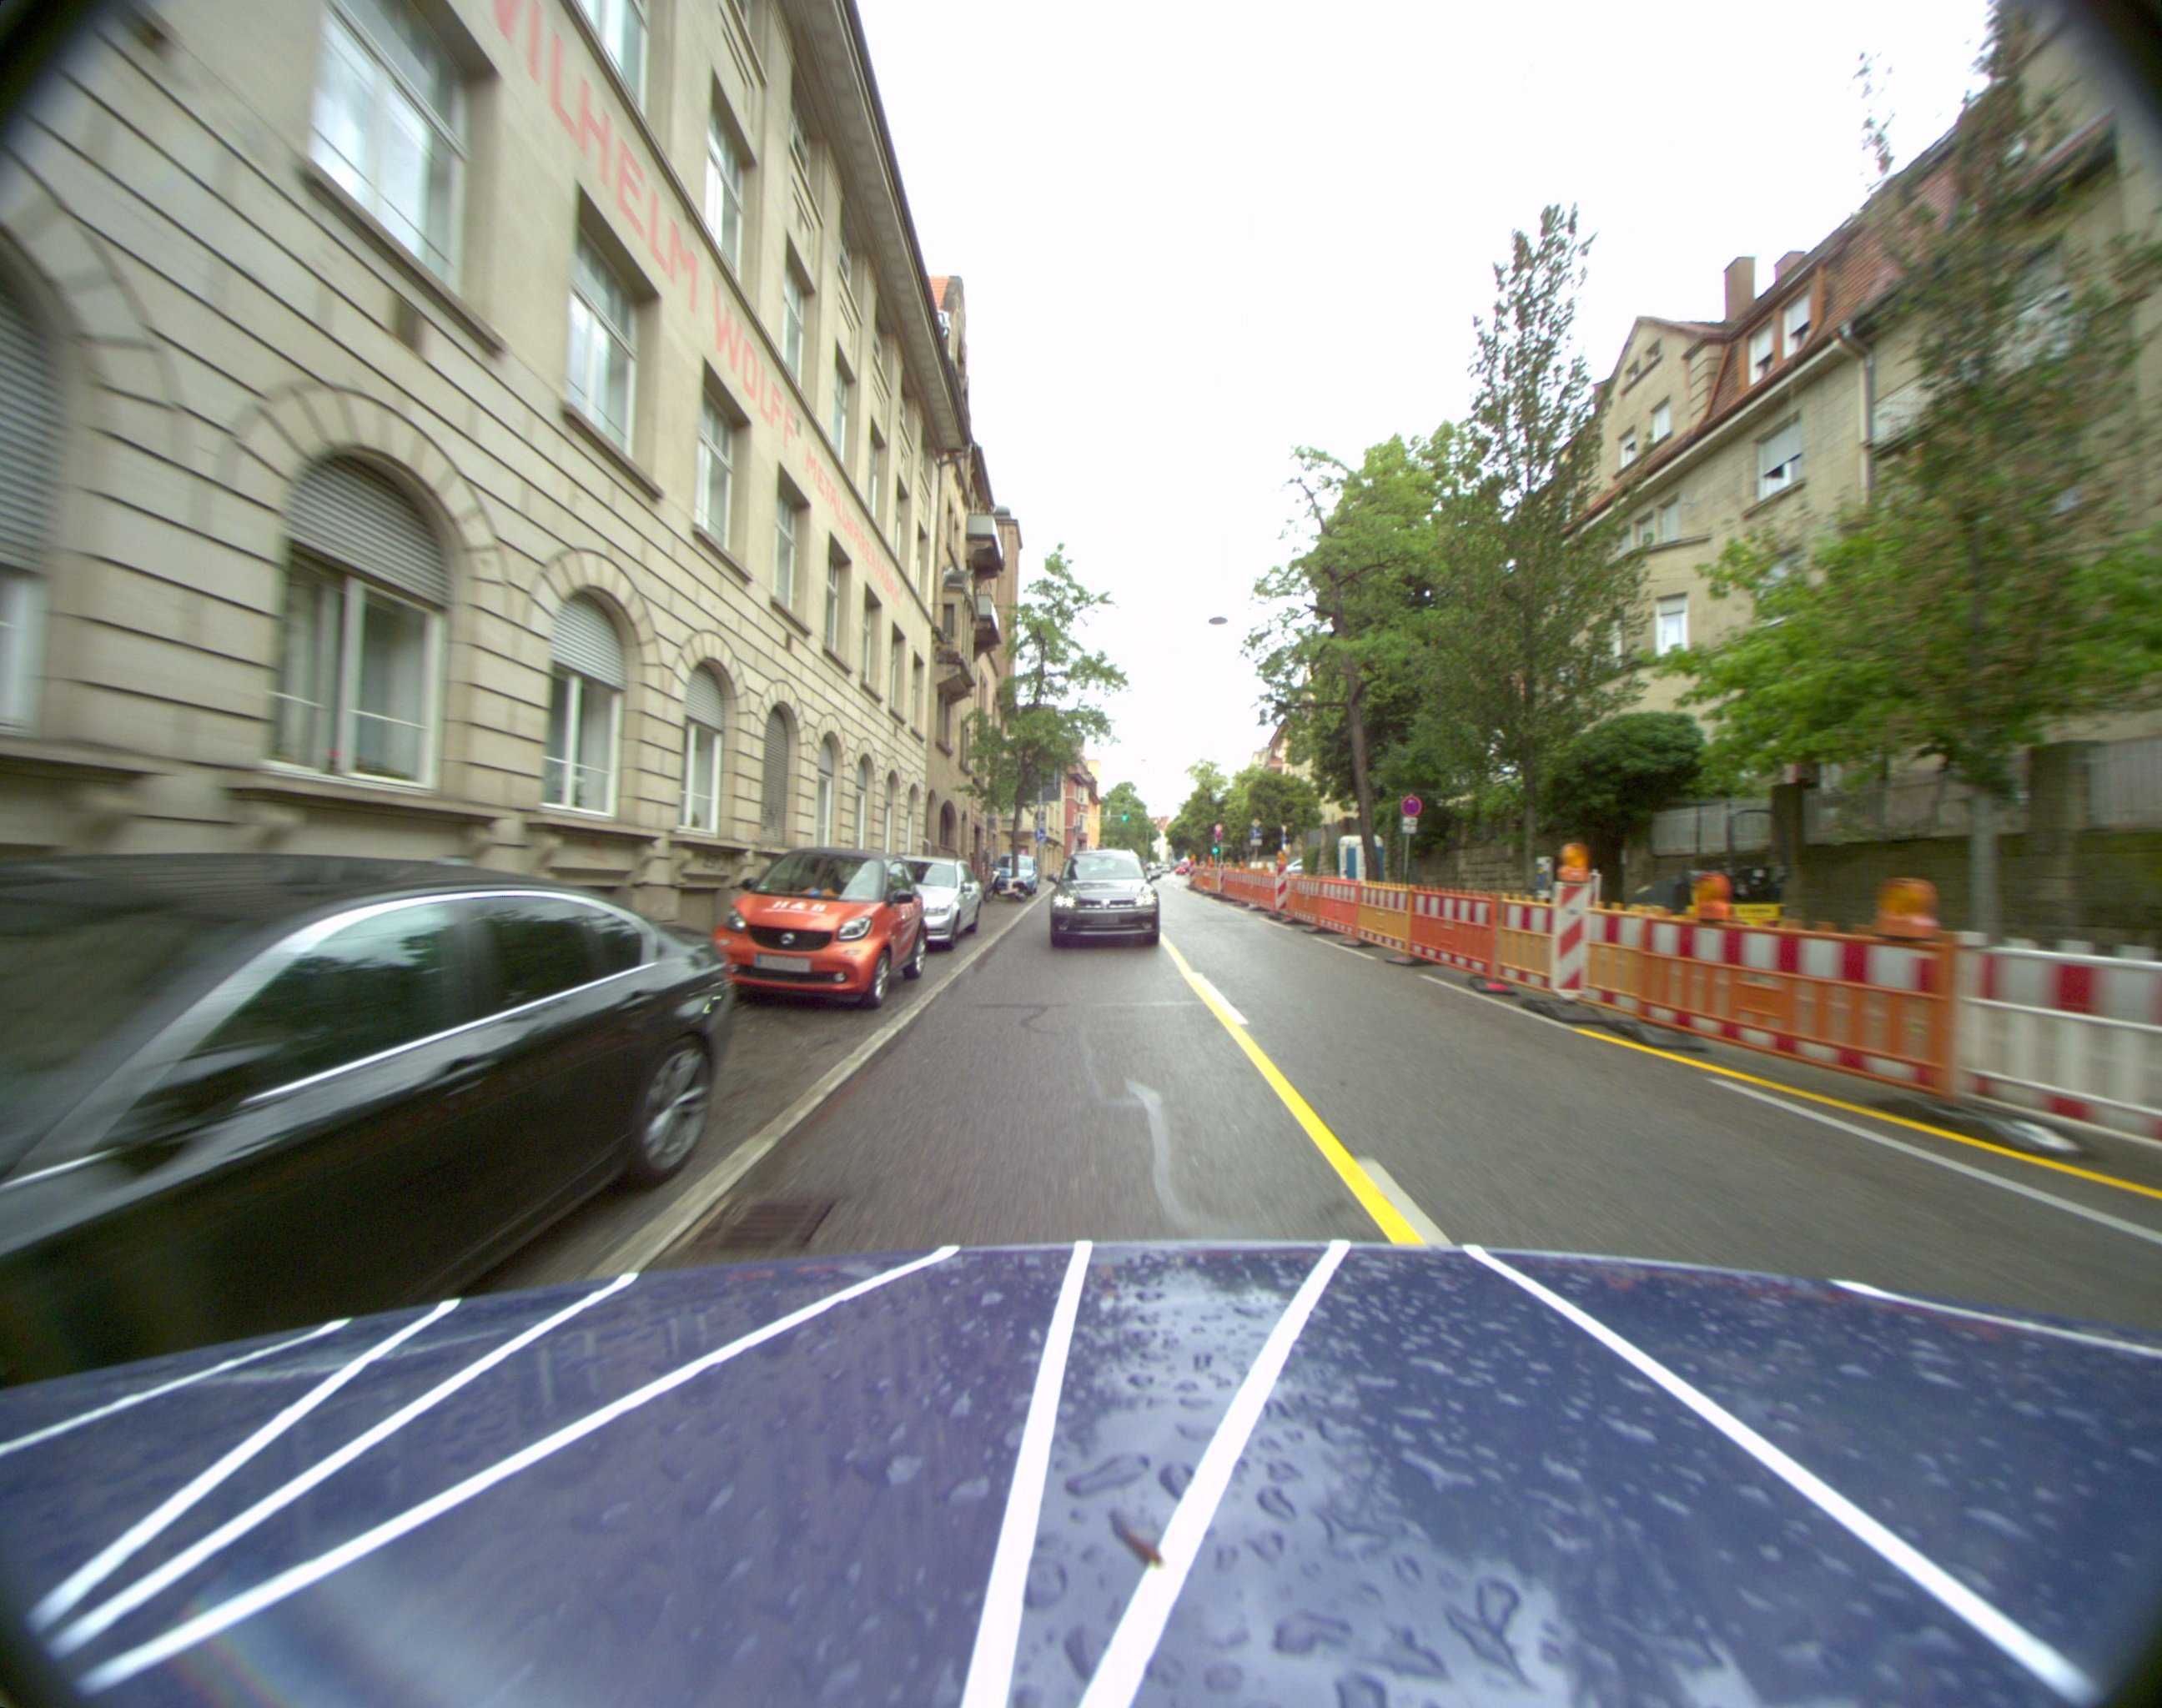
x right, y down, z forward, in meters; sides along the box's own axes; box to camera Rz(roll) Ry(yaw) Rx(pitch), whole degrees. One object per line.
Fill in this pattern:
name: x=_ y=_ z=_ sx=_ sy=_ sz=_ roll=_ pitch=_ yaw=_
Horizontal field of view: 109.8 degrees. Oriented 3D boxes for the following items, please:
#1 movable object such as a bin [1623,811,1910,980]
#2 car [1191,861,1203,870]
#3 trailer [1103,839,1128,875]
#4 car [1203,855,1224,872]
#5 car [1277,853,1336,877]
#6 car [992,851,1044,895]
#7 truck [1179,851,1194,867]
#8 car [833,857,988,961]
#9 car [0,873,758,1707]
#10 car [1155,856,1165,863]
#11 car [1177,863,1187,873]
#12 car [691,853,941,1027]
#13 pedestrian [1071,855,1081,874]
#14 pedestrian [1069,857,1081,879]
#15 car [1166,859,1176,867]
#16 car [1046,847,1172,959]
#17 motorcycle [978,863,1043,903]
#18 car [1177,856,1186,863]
movable object such as a bin: x=10.460 y=0.567 z=11.899 sx=1.998 sy=2.286 sz=2.816 roll=1 pitch=0 yaw=4
car: x=20.784 y=1.990 z=136.080 sx=1.745 sy=1.550 sz=4.304 roll=-2 pitch=0 yaw=5
trailer: x=3.016 y=0.266 z=65.913 sx=1.966 sy=3.023 sz=2.366 roll=-1 pitch=0 yaw=5
car: x=12.662 y=0.897 z=72.639 sx=1.745 sy=1.550 sz=4.305 roll=-2 pitch=0 yaw=8
car: x=15.949 y=0.778 z=53.938 sx=3.868 sy=1.401 sz=1.827 roll=-3 pitch=1 yaw=12
car: x=-2.438 y=0.688 z=29.950 sx=1.661 sy=1.534 sz=3.665 roll=2 pitch=1 yaw=0
truck: x=26.341 y=1.277 z=189.723 sx=2.651 sy=3.832 sz=9.319 roll=2 pitch=0 yaw=15
car: x=-2.794 y=0.825 z=13.451 sx=1.699 sy=1.423 sz=4.422 roll=3 pitch=0 yaw=0
car: x=-2.722 y=0.887 z=1.918 sx=1.762 sy=1.452 sz=4.723 roll=3 pitch=0 yaw=0
car: x=19.278 y=1.426 z=185.790 sx=1.923 sy=1.552 sz=4.016 roll=4 pitch=1 yaw=11
car: x=19.701 y=2.738 z=148.496 sx=1.818 sy=1.507 sz=4.555 roll=2 pitch=-4 yaw=9
car: x=-2.720 y=0.786 z=8.542 sx=1.642 sy=1.511 sz=3.183 roll=3 pitch=0 yaw=0
pedestrian: x=-0.428 y=0.853 z=62.901 sx=0.599 sy=1.575 sz=0.665 roll=3 pitch=-1 yaw=-13
pedestrian: x=-0.480 y=1.183 z=63.106 sx=0.721 sy=1.763 sz=0.664 roll=3 pitch=-1 yaw=-31
car: x=18.293 y=1.817 z=154.971 sx=1.775 sy=1.508 sz=4.103 roll=1 pitch=0 yaw=10
car: x=0.434 y=0.759 z=13.841 sx=1.860 sy=1.641 sz=5.195 roll=0 pitch=-1 yaw=0
motorcycle: x=-2.218 y=0.934 z=24.146 sx=1.943 sy=1.228 sz=0.656 roll=3 pitch=-1 yaw=-35
car: x=23.576 y=1.303 z=177.647 sx=1.714 sy=1.471 sz=4.118 roll=2 pitch=0 yaw=13
